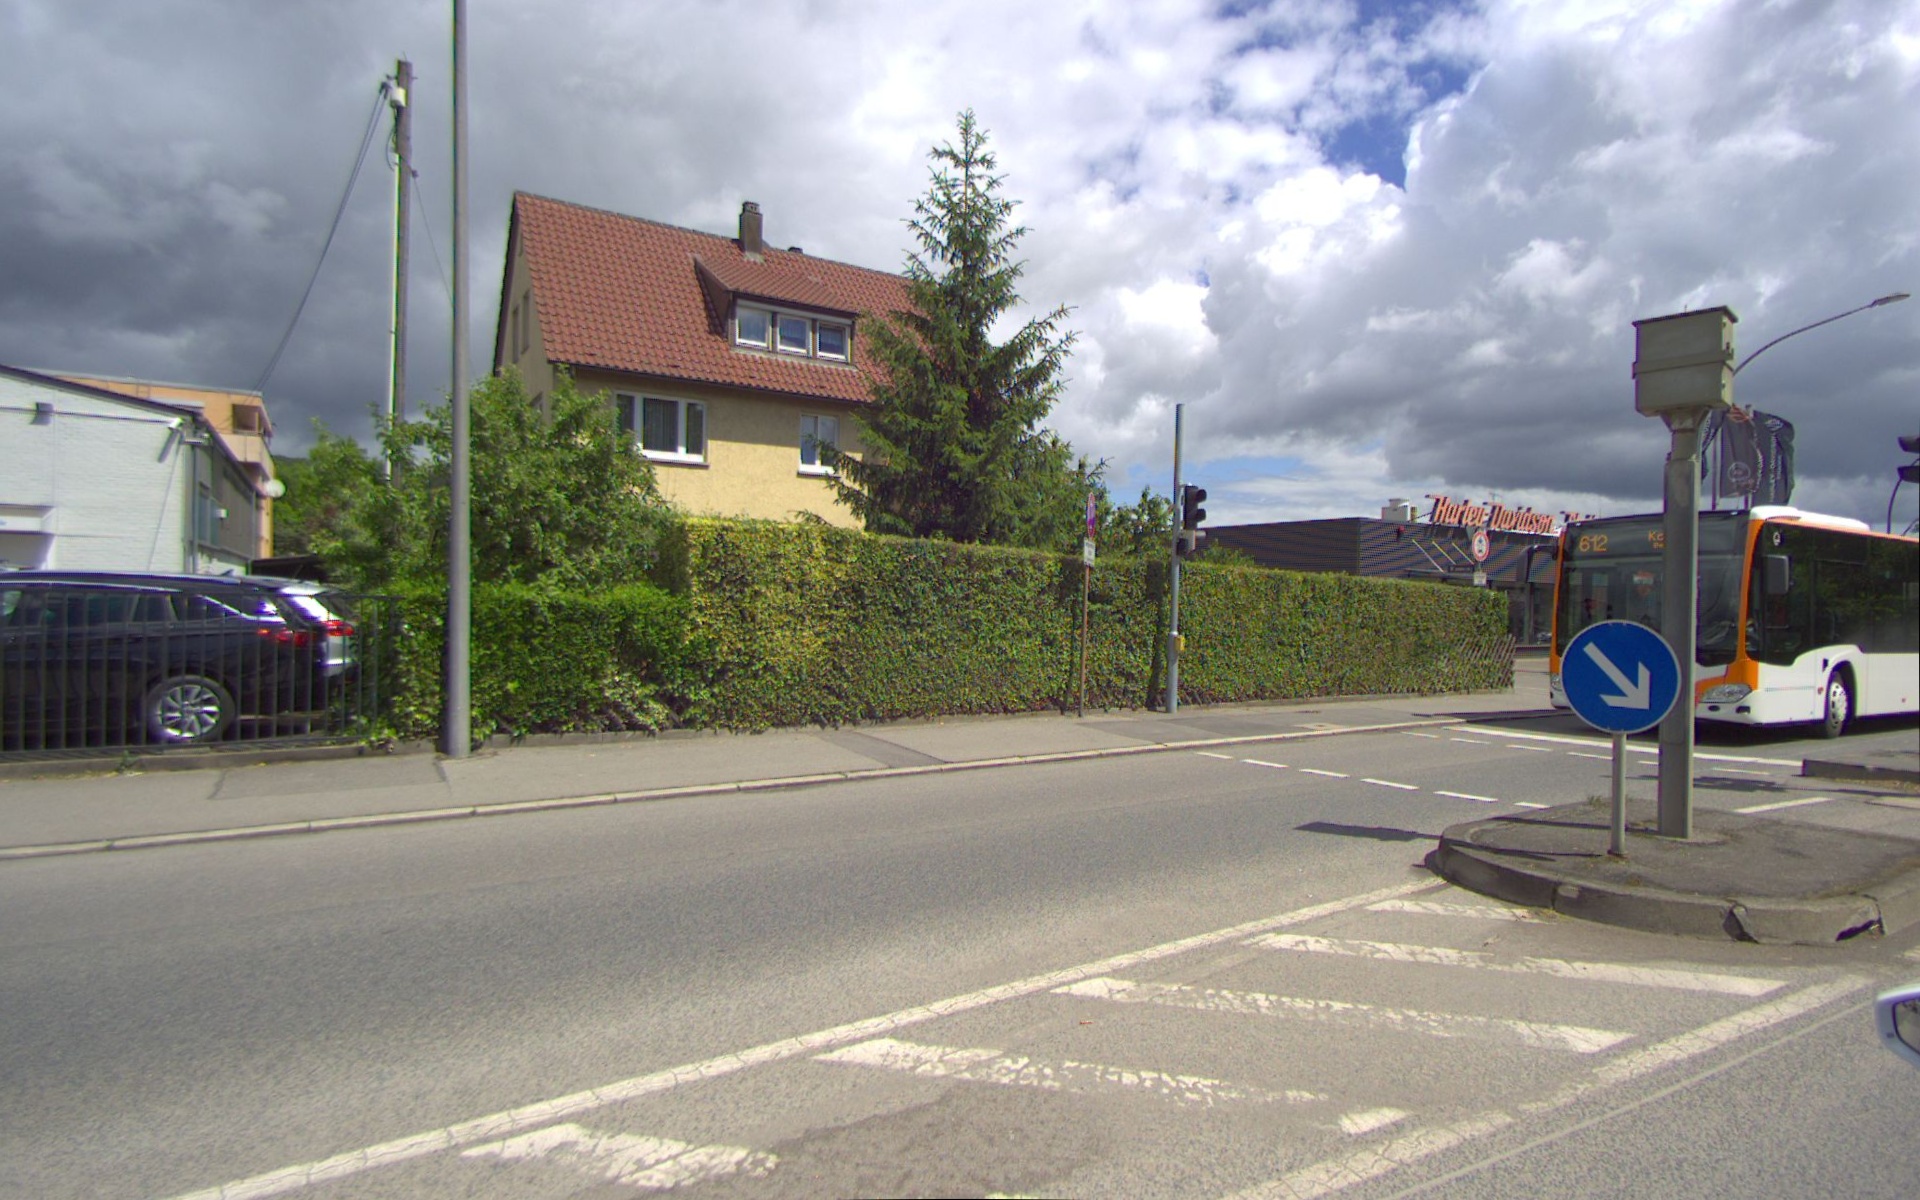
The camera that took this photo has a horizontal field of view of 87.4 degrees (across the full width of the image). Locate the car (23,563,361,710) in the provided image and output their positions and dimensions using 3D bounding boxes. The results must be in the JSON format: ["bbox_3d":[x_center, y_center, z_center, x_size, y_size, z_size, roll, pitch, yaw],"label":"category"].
[{"bbox_3d":[-11.828,0.556,15.879,3.953,2.040,1.984,2,0,-30],"label":"car"}]

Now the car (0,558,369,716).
[{"bbox_3d":[-9.018,0.390,11.354,3.953,1.561,1.984,2,0,-30],"label":"car"}]

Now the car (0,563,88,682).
[{"bbox_3d":[-17.988,0.341,17.419,3.953,2.040,1.984,2,0,-30],"label":"car"}]

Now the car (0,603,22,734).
[{"bbox_3d":[-16.711,1.035,14.695,3.953,2.040,1.984,2,0,-30],"label":"car"}]

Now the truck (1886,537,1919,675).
[{"bbox_3d":[31.542,0.270,31.553,6.448,4.107,2.775,2,0,-40],"label":"truck"}]

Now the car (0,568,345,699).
[{"bbox_3d":[-10.725,0.429,13.626,3.953,1.569,1.984,2,0,-30],"label":"car"}]

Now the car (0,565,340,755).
[{"bbox_3d":[-7.858,0.473,8.850,3.997,1.502,1.850,2,0,-31],"label":"car"}]

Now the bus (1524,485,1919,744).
[{"bbox_3d":[13.913,0.358,16.198,12.123,3.071,2.706,2,-1,-31],"label":"bus"}]

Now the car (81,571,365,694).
[{"bbox_3d":[-13.324,0.582,18.523,3.953,2.040,1.984,2,0,-30],"label":"car"}]

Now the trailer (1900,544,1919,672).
[{"bbox_3d":[37.231,0.466,36.394,15.429,4.107,2.775,2,0,-40],"label":"trailer"}]
